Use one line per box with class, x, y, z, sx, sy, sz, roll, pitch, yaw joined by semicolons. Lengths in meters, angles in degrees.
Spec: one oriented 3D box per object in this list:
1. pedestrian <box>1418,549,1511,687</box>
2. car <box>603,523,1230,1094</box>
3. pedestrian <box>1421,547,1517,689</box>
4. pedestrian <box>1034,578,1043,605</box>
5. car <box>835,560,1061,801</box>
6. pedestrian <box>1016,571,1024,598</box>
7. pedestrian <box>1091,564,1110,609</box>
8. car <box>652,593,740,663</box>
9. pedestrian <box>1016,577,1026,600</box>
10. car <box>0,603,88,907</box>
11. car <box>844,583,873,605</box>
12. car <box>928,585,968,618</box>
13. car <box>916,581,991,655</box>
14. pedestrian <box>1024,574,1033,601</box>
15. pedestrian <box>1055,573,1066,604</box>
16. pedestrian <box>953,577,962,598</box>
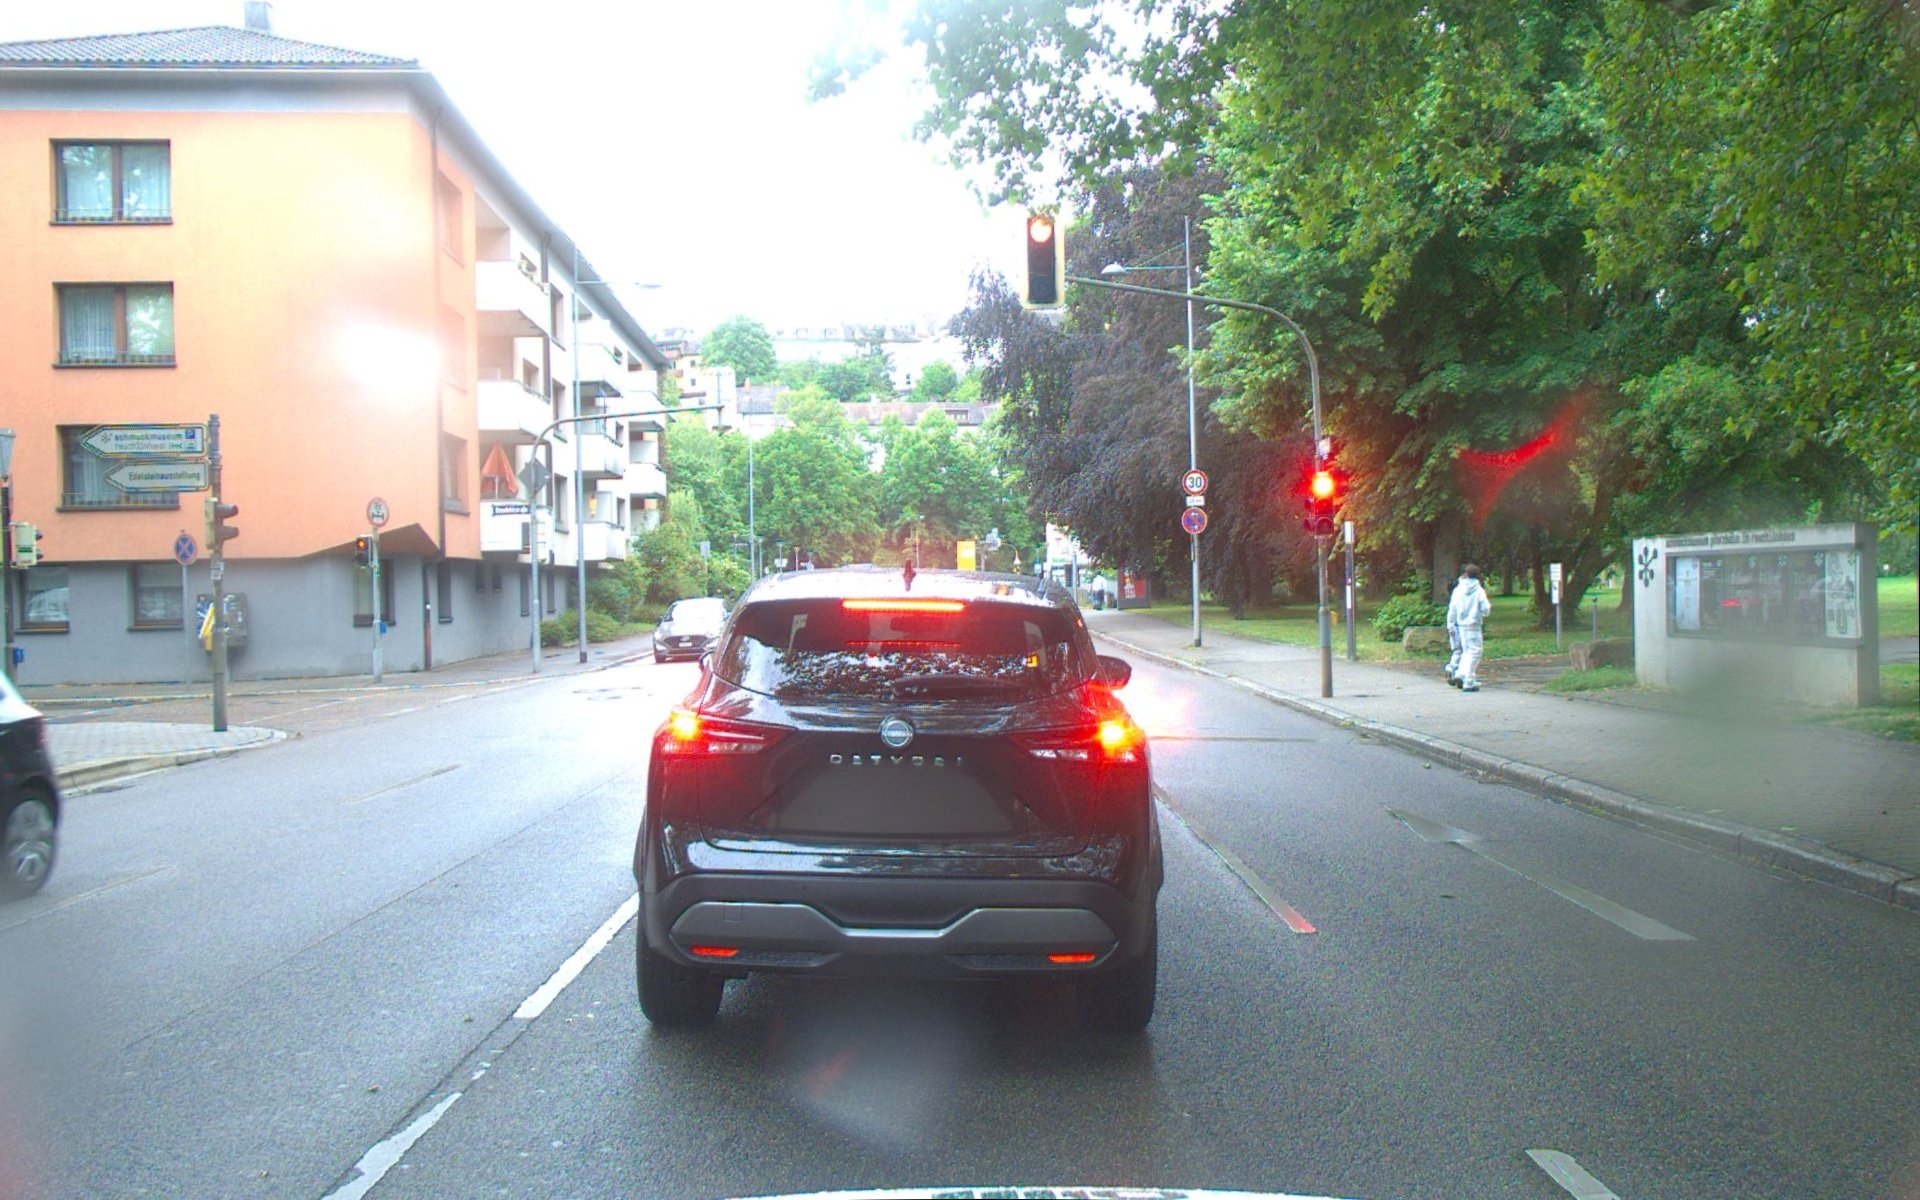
pedestrian;7.323;0.251;24.024;1.017;1.908;0.656;-4;0;-11
car;-0.151;0.617;6.977;1.874;1.709;3.999;0;0;-1
pedestrian;7.157;0.246;23.270;1.017;1.908;0.656;-4;0;-11
pedestrian;5.413;-0.588;113.539;0.498;1.833;0.619;-2;0;-2
car;-0.116;0.597;14.380;1.664;1.776;3.640;-2;0;-1
pedestrian;4.146;-1.056;114.245;0.498;1.833;0.619;-2;0;-1
pedestrian;6.490;-0.626;76.359;0.710;2.049;0.851;-2;0;-1
car;-6.456;0.648;40.799;1.760;1.560;3.864;-2;0;-4
pedestrian;4.606;-0.855;125.522;0.498;1.702;0.658;-2;0;27
car;-5.818;0.840;7.430;1.759;1.560;3.866;-2;0;-1
car;-7.569;-0.480;123.824;1.930;1.559;3.967;-2;0;-1
car;-0.592;0.063;77.291;1.789;1.428;4.649;-2;0;-1
car;-0.123;0.409;41.330;1.686;1.707;4.314;-2;0;1
pedestrian;4.719;-0.861;114.187;0.498;1.833;0.659;-2;0;0
pedestrian;5.902;-0.683;97.392;0.499;1.833;0.619;-2;0;-6
pedestrian;-0.207;-1.002;135.100;0.498;1.702;0.658;-2;0;27
